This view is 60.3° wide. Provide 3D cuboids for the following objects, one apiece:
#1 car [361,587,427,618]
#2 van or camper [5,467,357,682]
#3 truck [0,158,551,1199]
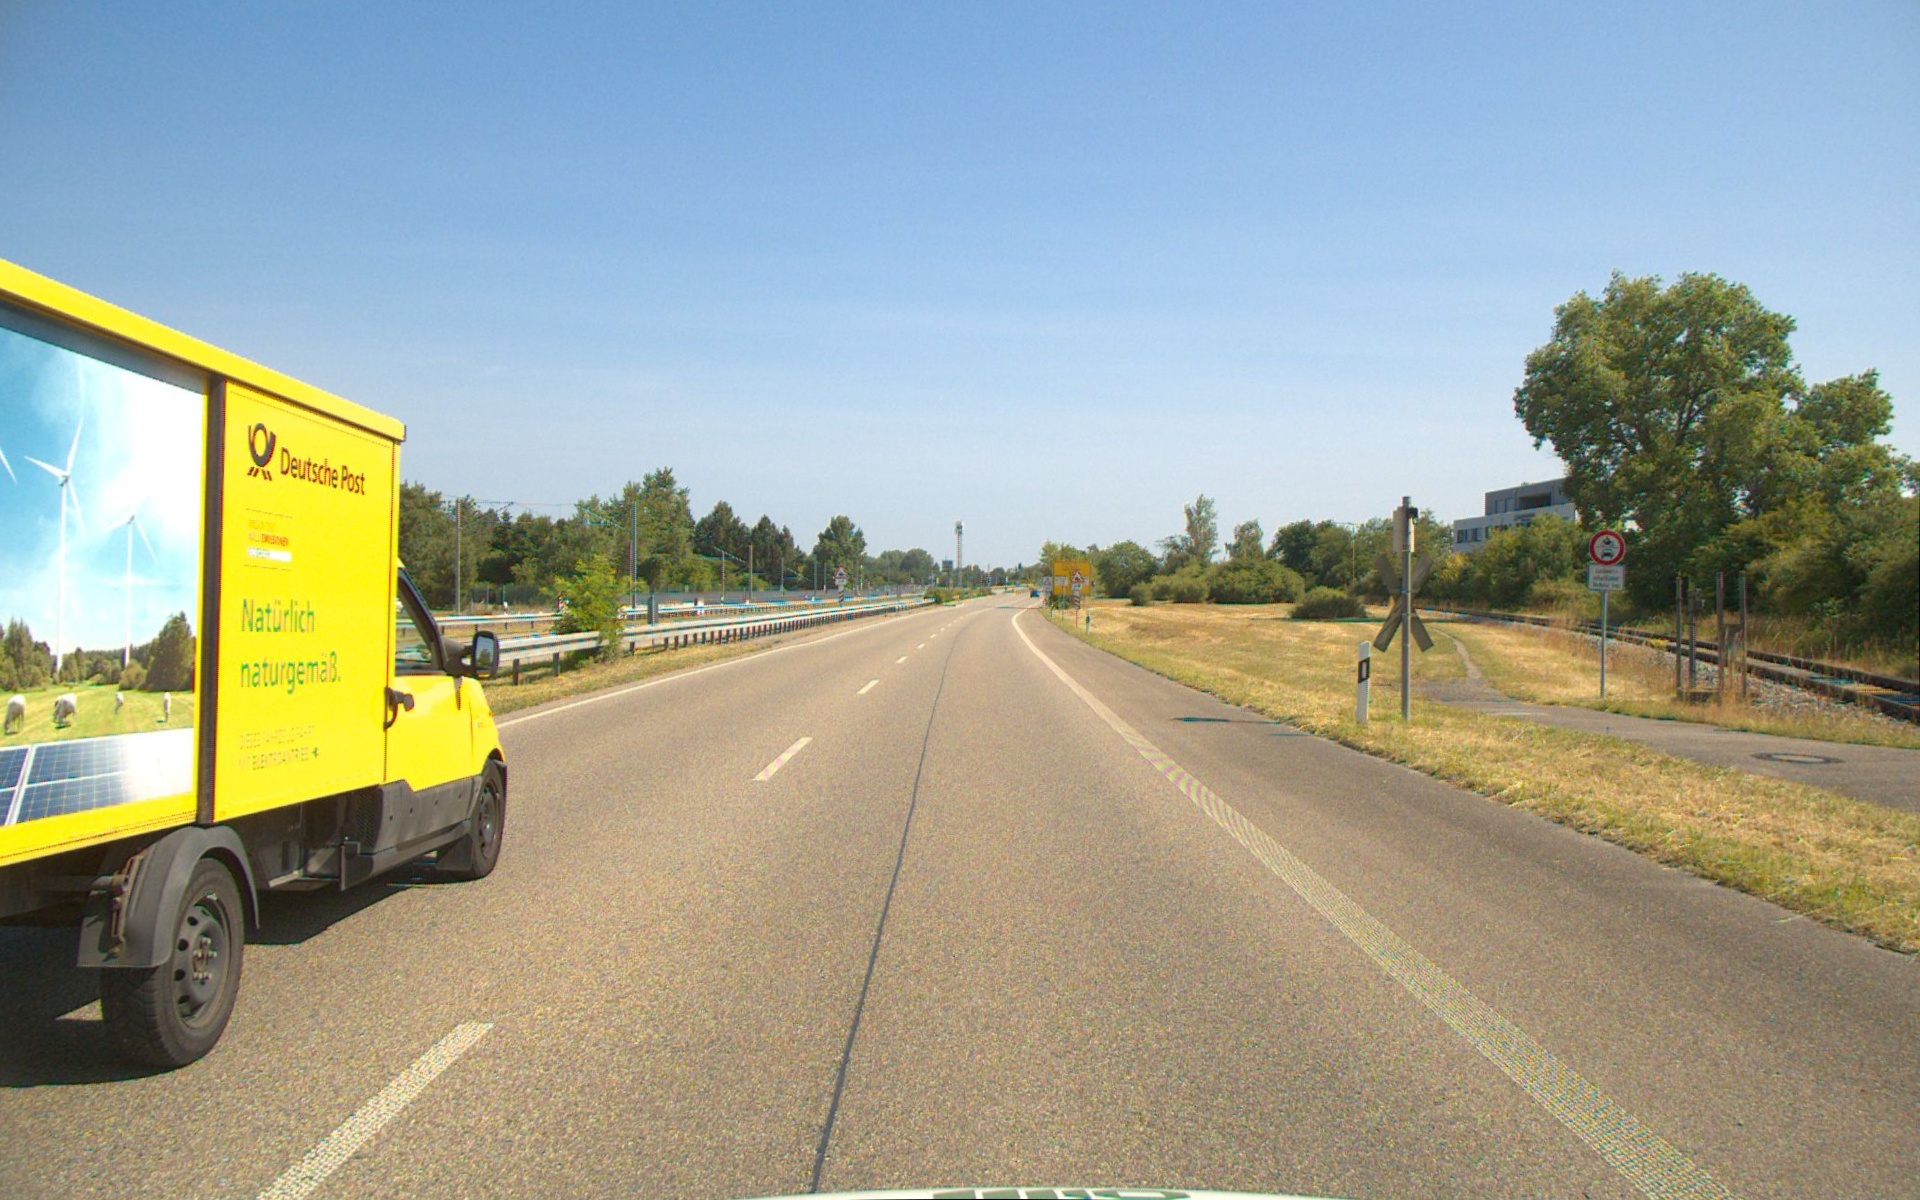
[{"bbox_3d":[-37.615,0.164,109.915,3.939,2.049,1.983,0,0,-27],"label":"car"},{"bbox_3d":[-15.197,-0.479,33.251,2.817,3.745,8.645,0,0,1],"label":"van or camper"},{"bbox_3d":[-3.289,0.234,6.445,2.069,2.500,5.915,0,0,-2],"label":"truck"}]
